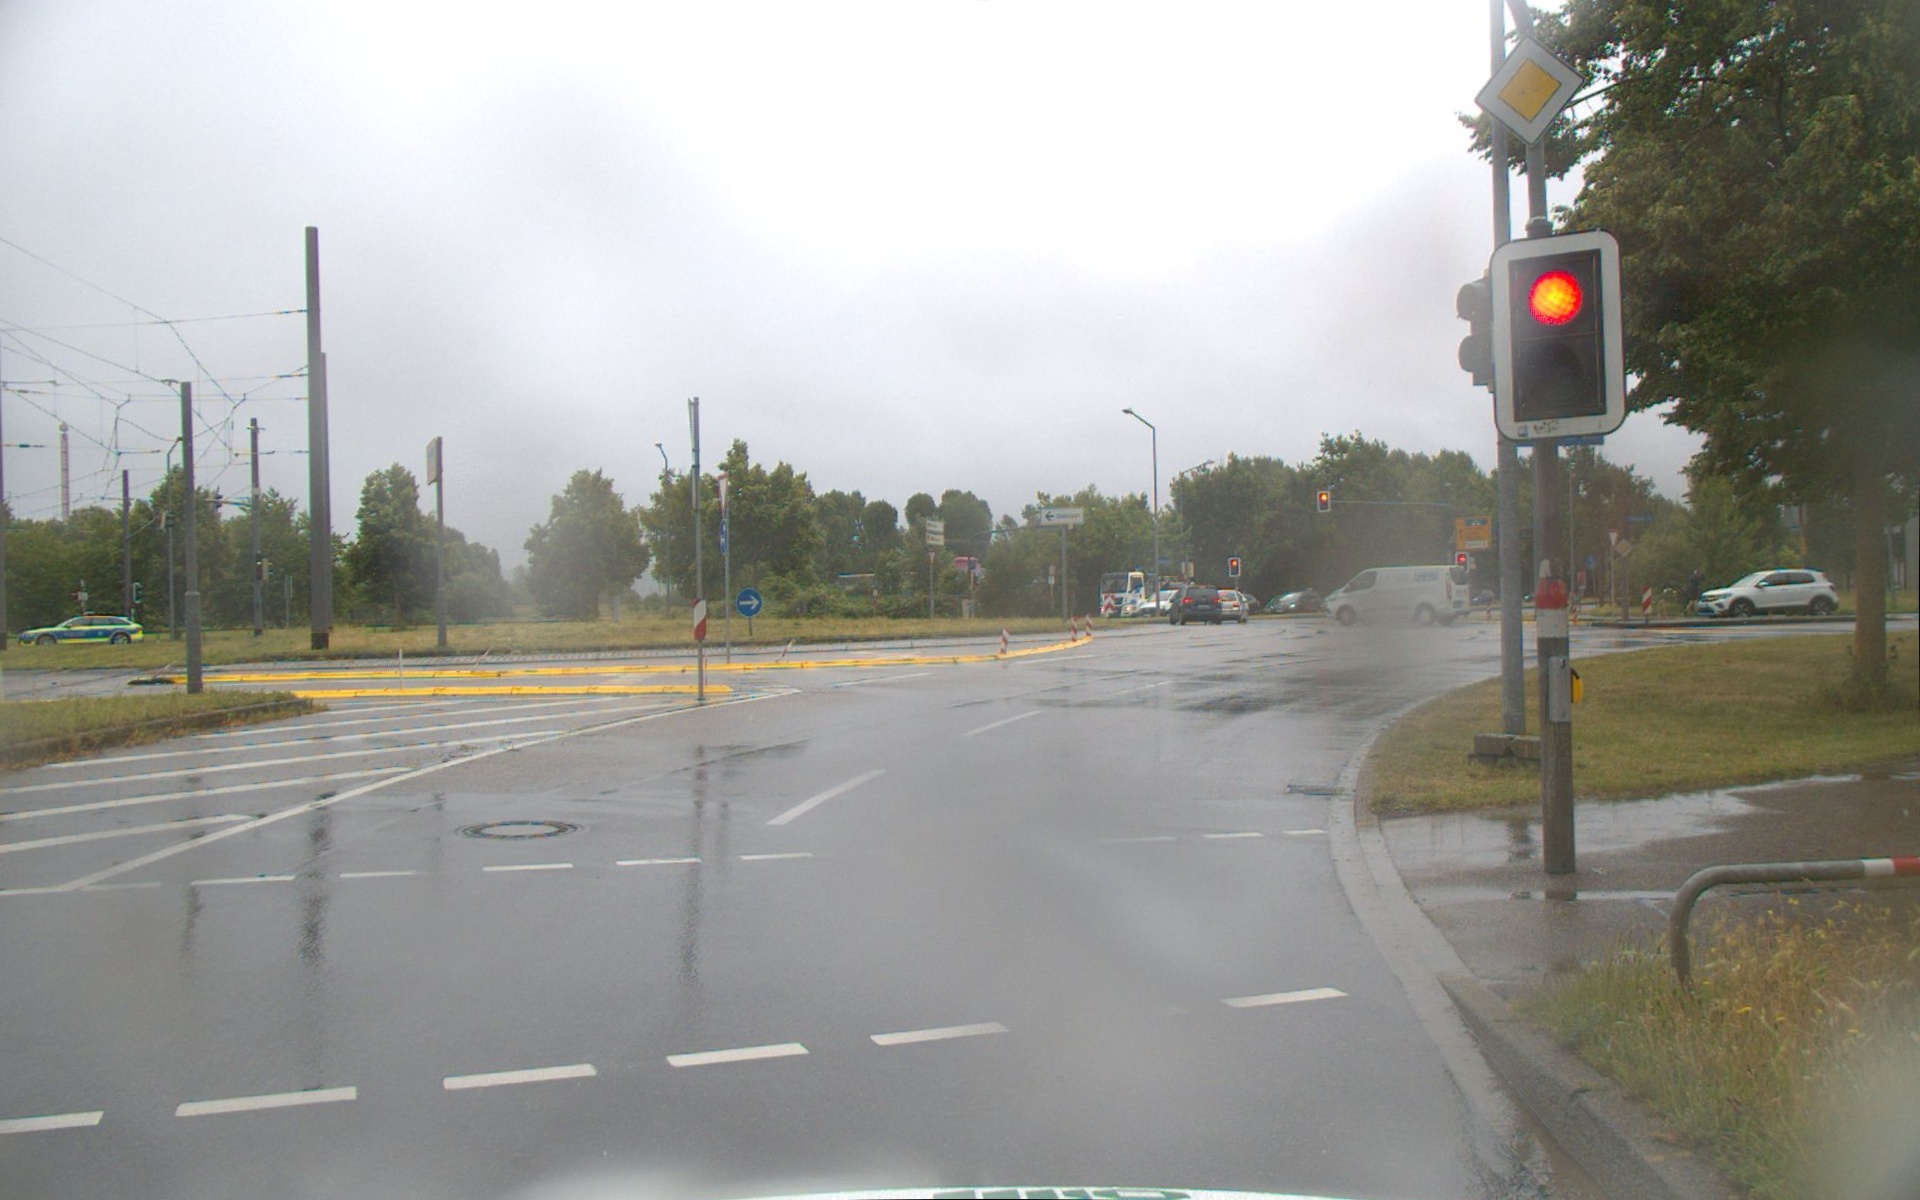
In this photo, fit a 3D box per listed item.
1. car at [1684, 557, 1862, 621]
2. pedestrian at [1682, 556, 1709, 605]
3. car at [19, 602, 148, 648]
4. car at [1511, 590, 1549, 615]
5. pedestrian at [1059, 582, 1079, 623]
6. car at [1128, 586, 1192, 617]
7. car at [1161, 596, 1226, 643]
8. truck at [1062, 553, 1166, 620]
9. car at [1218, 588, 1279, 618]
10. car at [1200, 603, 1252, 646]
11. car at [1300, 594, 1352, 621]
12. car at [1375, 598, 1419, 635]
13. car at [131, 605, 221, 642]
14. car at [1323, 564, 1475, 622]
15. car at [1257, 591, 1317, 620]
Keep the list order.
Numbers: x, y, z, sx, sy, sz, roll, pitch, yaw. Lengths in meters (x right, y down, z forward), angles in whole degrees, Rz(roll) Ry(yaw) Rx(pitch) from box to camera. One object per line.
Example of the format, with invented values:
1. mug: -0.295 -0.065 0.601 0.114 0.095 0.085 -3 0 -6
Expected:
1. car: 25.803 -0.348 52.605 4.662 1.883 2.000 -1 0 1
2. pedestrian: 28.713 -0.747 64.601 0.799 1.901 0.668 1 -1 7
3. car: -38.269 1.079 72.262 4.726 1.883 1.973 -1 0 -38
4. car: 49.585 0.199 143.802 1.961 2.049 3.983 0 -1 37
5. pedestrian: 3.579 0.093 54.366 0.445 1.327 0.484 -1 0 38
6. car: 11.705 0.083 96.480 1.769 1.691 4.112 0 -1 40
7. car: 9.978 0.839 70.890 1.953 1.884 4.774 1 -1 -2
8. truck: 7.015 -0.541 74.201 2.411 2.733 8.058 1 -1 22
9. car: 17.157 0.212 98.254 1.769 1.691 3.979 0 -1 40
10. car: 12.470 1.155 77.333 1.951 1.884 4.779 1 -1 14
11. car: 23.956 0.478 108.190 1.768 1.691 3.979 0 -1 39
12. car: 18.841 0.700 71.462 1.583 1.479 3.991 -1 0 11
13. car: -40.126 1.201 84.732 1.644 1.848 3.994 1 -1 28
14. car: 15.178 -0.240 57.258 4.680 1.884 1.993 1 -1 36
15. car: 20.253 0.325 102.218 1.769 1.691 4.386 0 -1 40
